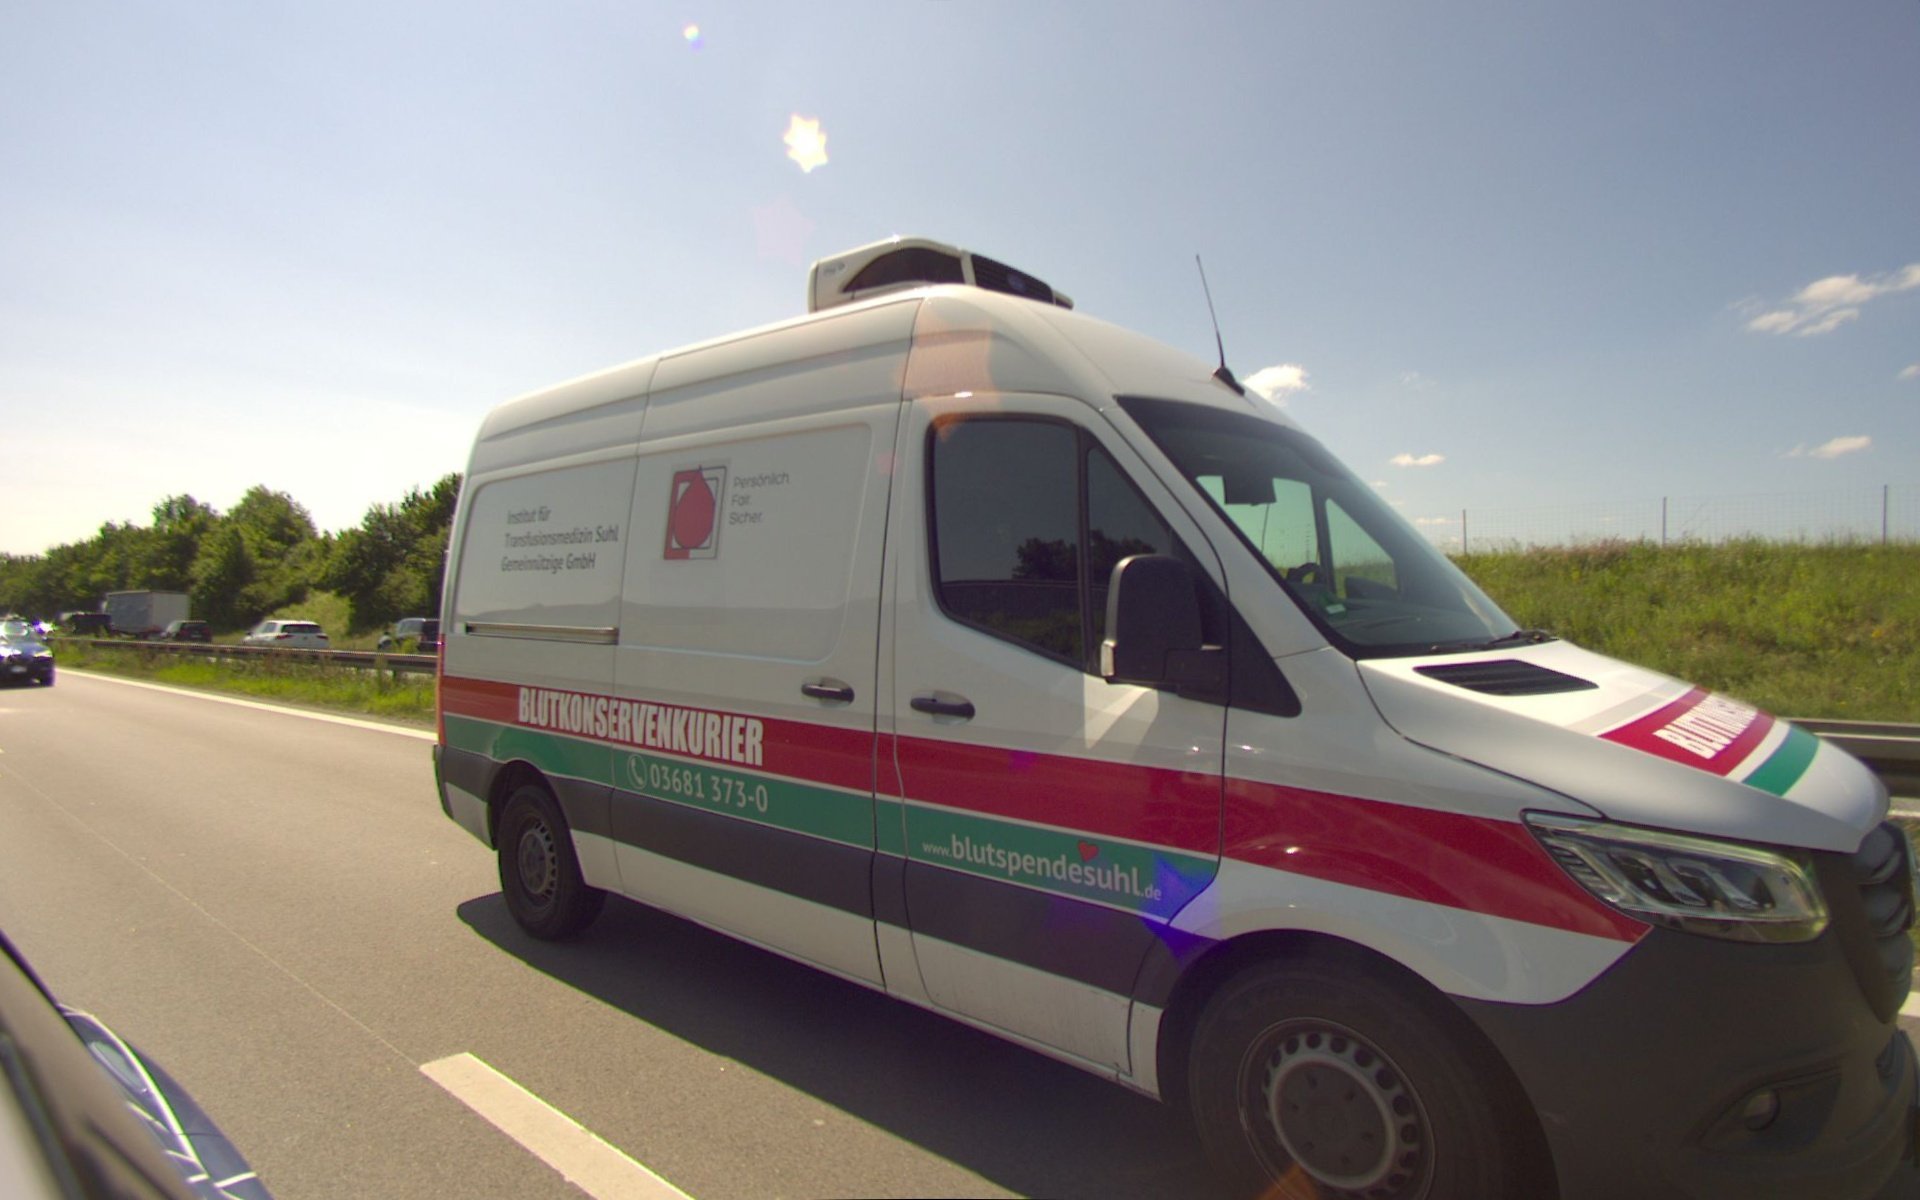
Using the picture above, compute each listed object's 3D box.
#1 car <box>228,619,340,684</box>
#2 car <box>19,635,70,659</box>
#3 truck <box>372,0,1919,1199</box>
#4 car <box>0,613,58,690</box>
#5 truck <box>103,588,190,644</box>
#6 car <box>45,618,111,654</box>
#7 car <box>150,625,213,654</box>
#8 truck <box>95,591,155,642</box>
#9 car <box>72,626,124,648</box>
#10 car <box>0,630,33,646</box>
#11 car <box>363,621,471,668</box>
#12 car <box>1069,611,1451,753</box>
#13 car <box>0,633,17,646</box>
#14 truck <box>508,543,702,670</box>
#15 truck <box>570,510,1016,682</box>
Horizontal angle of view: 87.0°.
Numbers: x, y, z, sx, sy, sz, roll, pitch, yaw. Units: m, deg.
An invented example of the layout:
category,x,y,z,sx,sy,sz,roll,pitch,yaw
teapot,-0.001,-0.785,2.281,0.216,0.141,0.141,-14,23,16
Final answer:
category,x,y,z,sx,sy,sz,roll,pitch,yaw
car,-23.369,1.701,34.904,4.911,2.029,1.973,0,-1,41
car,-60.321,3.061,66.647,5.015,1.450,1.855,-1,-2,40
truck,0.082,0.142,3.962,6.686,2.561,1.973,-1,0,40
car,-22.091,1.153,23.024,4.239,1.638,1.880,-2,-1,42
truck,-65.257,1.361,80.978,13.947,4.110,2.645,-1,-4,40
car,-51.418,2.070,58.953,5.685,1.960,2.068,-1,-2,40
car,-45.535,2.268,59.151,4.892,1.653,1.944,-1,-2,40
truck,-70.159,1.447,85.020,6.071,4.110,2.645,-1,-4,40
car,-61.378,2.586,72.036,5.203,1.521,1.973,-1,-2,40
car,-90.679,3.608,97.260,4.346,1.521,1.777,-2,-2,39
car,-20.040,1.603,37.273,4.578,1.626,1.973,-2,-2,41
car,3.419,0.859,11.962,3.998,1.401,1.698,-1,-2,41
car,-116.941,4.813,123.661,4.919,1.449,1.876,-2,-5,39
truck,-12.836,0.323,36.302,7.388,4.081,3.208,-1,-3,39
truck,-5.946,0.100,30.646,16.658,4.081,3.179,-1,-3,40
